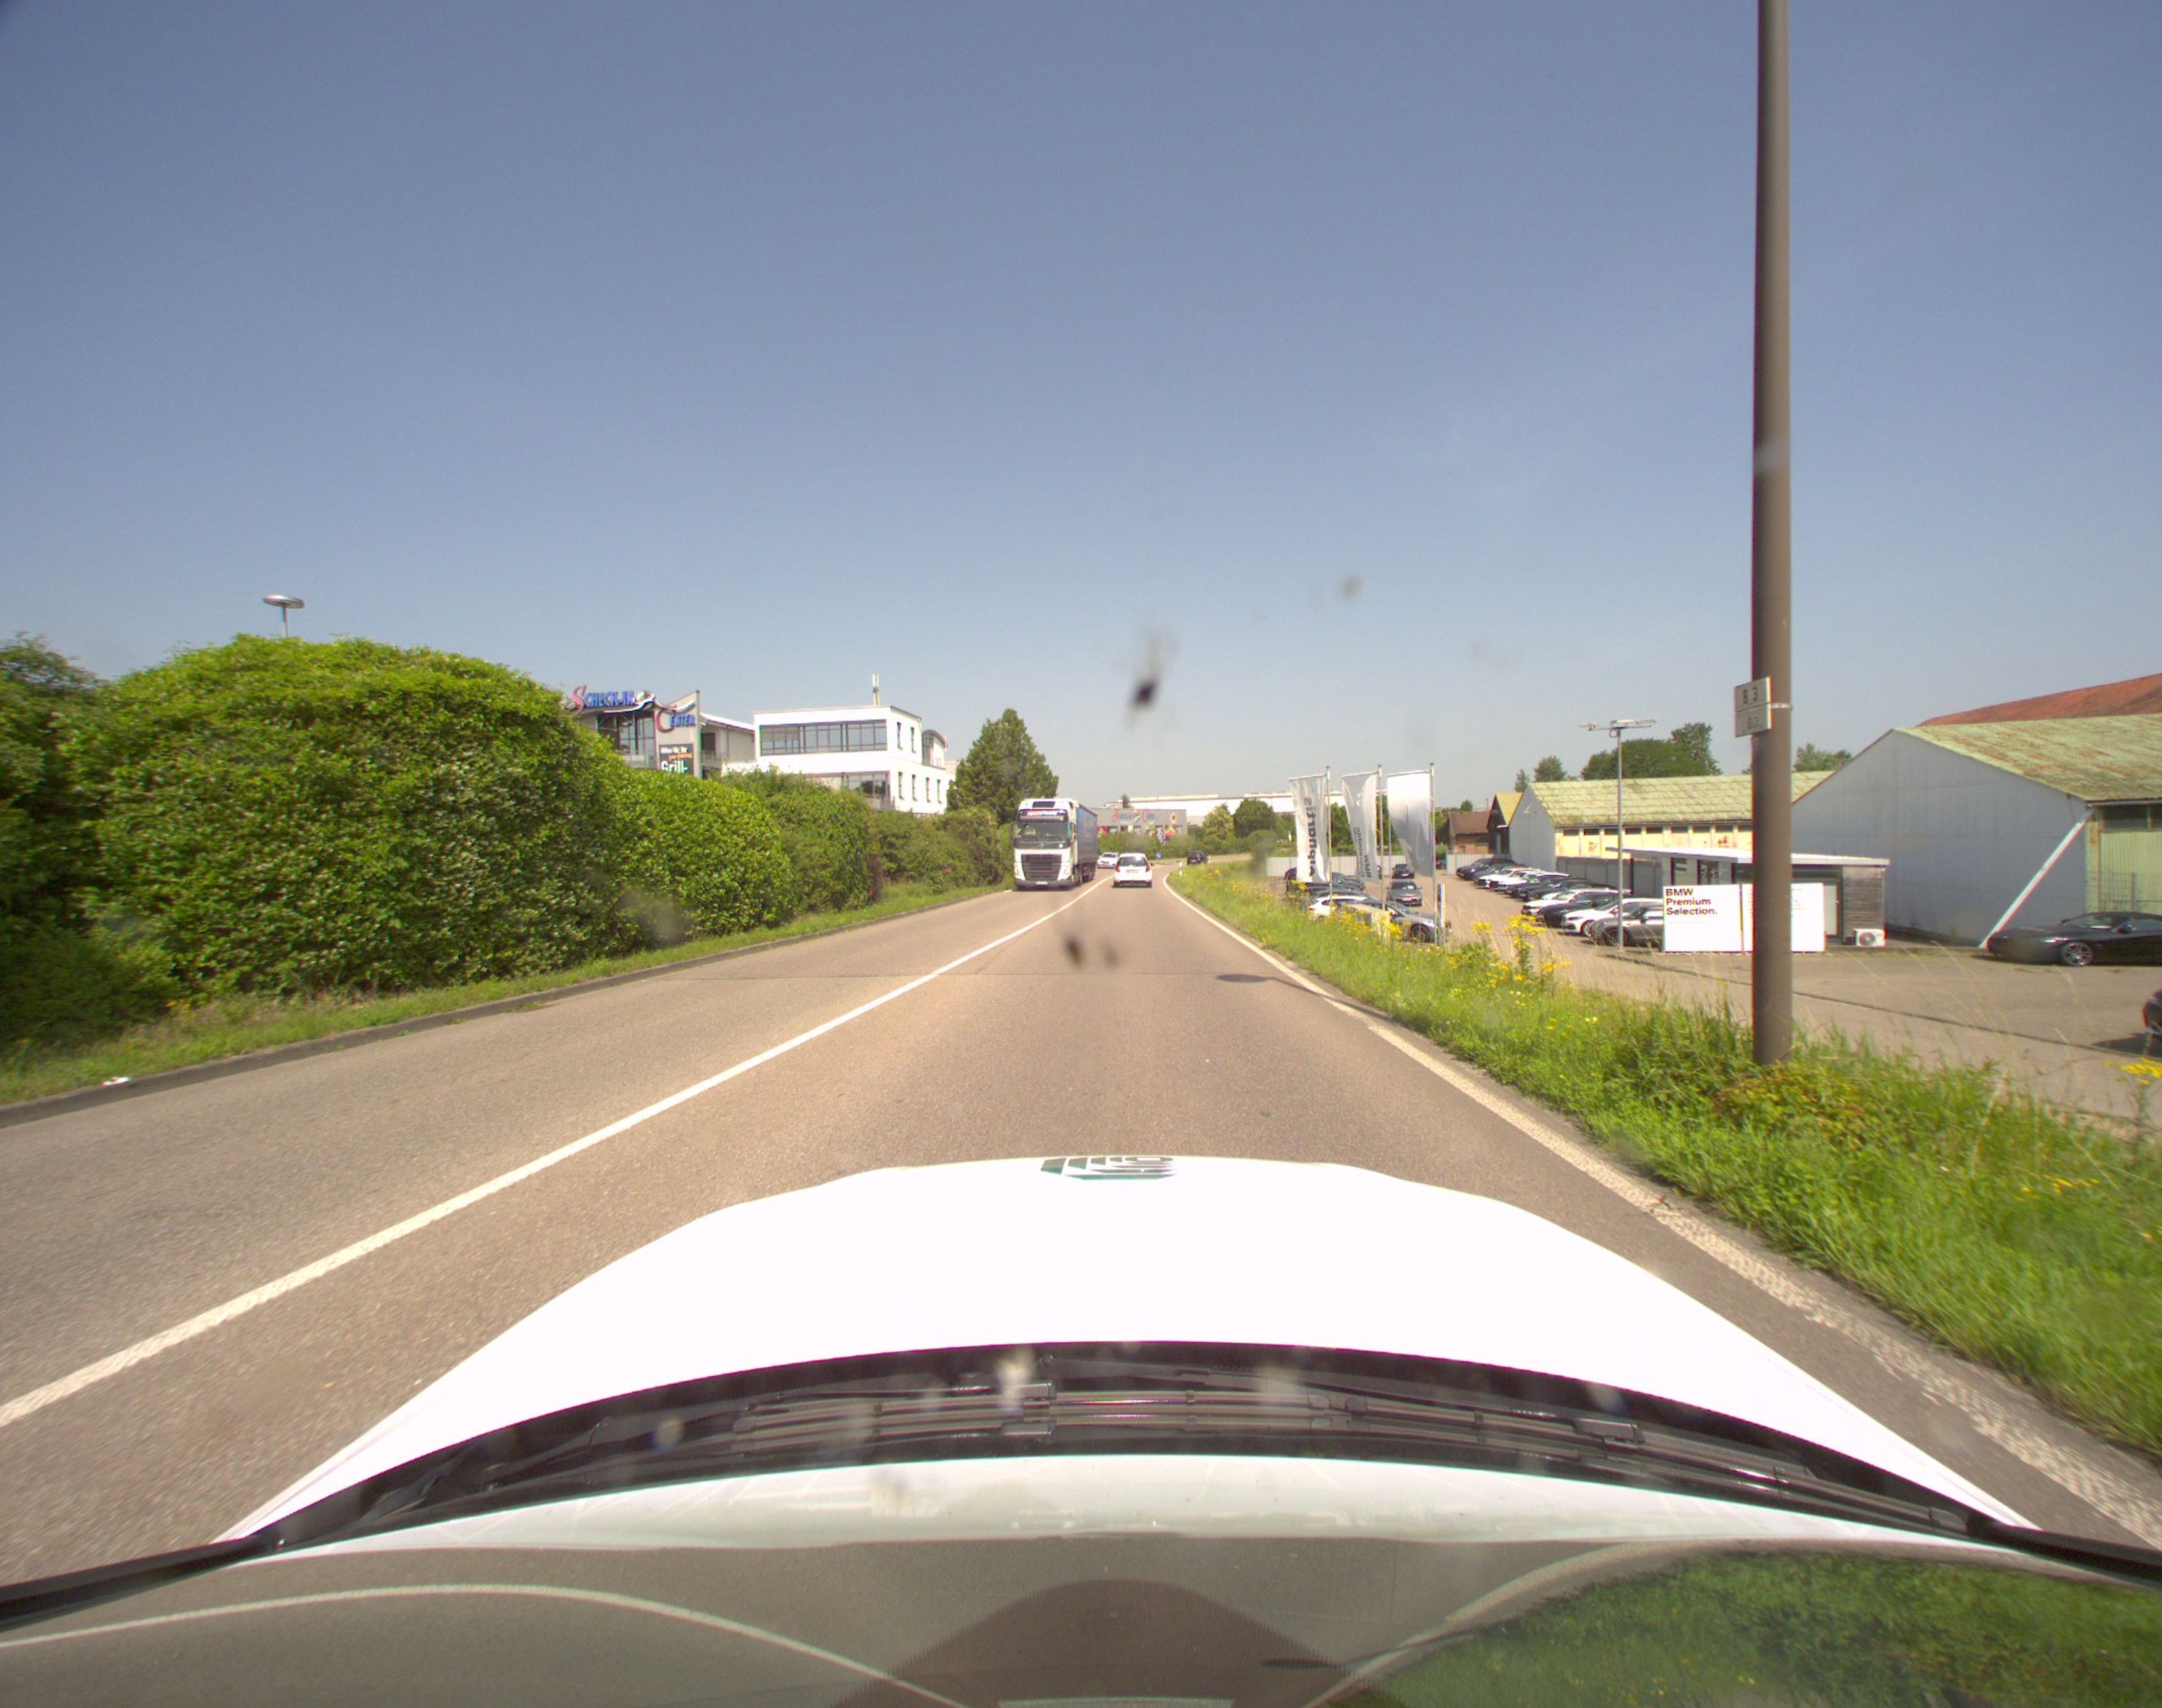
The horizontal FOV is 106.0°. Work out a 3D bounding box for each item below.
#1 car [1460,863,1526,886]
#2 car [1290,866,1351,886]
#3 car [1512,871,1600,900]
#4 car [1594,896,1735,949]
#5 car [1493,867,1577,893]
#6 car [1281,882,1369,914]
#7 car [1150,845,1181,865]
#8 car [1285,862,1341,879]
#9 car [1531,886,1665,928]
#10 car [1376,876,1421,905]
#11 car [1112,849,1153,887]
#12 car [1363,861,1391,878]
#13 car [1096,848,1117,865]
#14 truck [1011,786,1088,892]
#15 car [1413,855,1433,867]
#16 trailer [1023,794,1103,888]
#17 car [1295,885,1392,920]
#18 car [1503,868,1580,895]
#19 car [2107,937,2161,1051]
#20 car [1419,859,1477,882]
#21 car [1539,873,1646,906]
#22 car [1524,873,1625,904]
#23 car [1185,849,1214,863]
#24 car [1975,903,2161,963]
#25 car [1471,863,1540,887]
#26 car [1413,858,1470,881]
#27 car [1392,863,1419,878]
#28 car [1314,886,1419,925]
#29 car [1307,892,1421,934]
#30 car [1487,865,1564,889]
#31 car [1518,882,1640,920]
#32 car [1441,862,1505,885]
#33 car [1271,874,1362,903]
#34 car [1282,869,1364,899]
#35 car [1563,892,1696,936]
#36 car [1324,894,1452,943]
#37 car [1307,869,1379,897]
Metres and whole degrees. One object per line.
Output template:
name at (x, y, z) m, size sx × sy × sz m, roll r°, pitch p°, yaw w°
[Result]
car at (32.104, 1.561, 63.491) m, size 4.321 × 1.576 × 1.907 m, roll -2°, pitch 2°, yaw -8°
car at (20.278, 1.838, 68.918) m, size 4.584 × 1.604 × 1.868 m, roll -1°, pitch 1°, yaw 32°
car at (28.666, 1.897, 49.242) m, size 4.303 × 1.523 × 1.795 m, roll -2°, pitch 0°, yaw -3°
car at (19.803, 2.290, 27.844) m, size 3.755 × 1.523 × 1.762 m, roll -1°, pitch 0°, yaw 30°
car at (30.817, 1.765, 55.339) m, size 4.635 × 1.523 × 1.910 m, roll -2°, pitch 0°, yaw -3°
car at (12.927, 2.277, 43.169) m, size 4.118 × 1.523 × 1.868 m, roll -1°, pitch 0°, yaw 32°
car at (9.050, 0.094, 87.032) m, size 1.975 × 2.013 × 4.024 m, roll -1°, pitch 0°, yaw 27°
car at (21.392, 1.514, 75.156) m, size 4.583 × 1.498 × 1.869 m, roll -1°, pitch 2°, yaw 35°
car at (21.766, 2.216, 34.431) m, size 4.406 × 1.523 × 1.934 m, roll -2°, pitch 0°, yaw 3°
car at (19.089, 2.163, 49.135) m, size 2.119 × 1.457 × 4.552 m, roll -1°, pitch 0°, yaw 17°
car at (2.429, 0.632, 38.548) m, size 1.774 × 1.603 × 3.897 m, roll 2°, pitch 1°, yaw 3°
car at (29.026, 1.520, 79.804) m, size 1.833 × 1.534 × 4.672 m, roll -1°, pitch 0°, yaw 29°
car at (2.390, 0.241, 75.299) m, size 1.821 × 1.470 × 4.413 m, roll -1°, pitch 0°, yaw 3°
truck at (-1.275, -0.632, 36.657) m, size 2.500 × 4.257 × 6.123 m, roll -2°, pitch 0°, yaw 6°
car at (44.377, 0.905, 105.601) m, size 1.975 × 1.398 × 4.025 m, roll -1°, pitch 0°, yaw 29°
trailer at (-0.638, -0.613, 44.265) m, size 2.657 × 4.241 × 14.587 m, roll -1°, pitch 0°, yaw 5°
car at (12.797, 2.326, 39.751) m, size 4.118 × 1.523 × 1.868 m, roll -1°, pitch 0°, yaw 32°
car at (29.378, 1.762, 52.031) m, size 3.987 × 1.523 × 1.757 m, roll -2°, pitch 0°, yaw -3°
car at (18.550, 2.086, 12.039) m, size 4.475 × 1.640 × 2.143 m, roll -1°, pitch -1°, yaw -7°
car at (32.073, 1.392, 71.193) m, size 4.321 × 1.804 × 1.907 m, roll -2°, pitch 1°, yaw -8°
car at (27.259, 1.897, 43.491) m, size 4.593 × 1.523 × 1.930 m, roll -2°, pitch 0°, yaw -3°
car at (27.963, 1.956, 46.194) m, size 4.593 × 1.523 × 1.930 m, roll -2°, pitch 0°, yaw -3°
car at (13.062, 0.189, 89.588) m, size 1.812 × 1.470 × 4.436 m, roll -1°, pitch 0°, yaw 26°
car at (26.341, 2.019, 21.135) m, size 3.909 × 1.376 × 1.726 m, roll -1°, pitch 0°, yaw 15°
car at (31.773, 1.577, 61.027) m, size 4.321 × 1.523 × 1.907 m, roll -2°, pitch 2°, yaw -8°
car at (32.712, 1.402, 74.017) m, size 4.321 × 1.804 × 1.994 m, roll -2°, pitch 1°, yaw -8°
car at (31.353, 1.578, 78.650) m, size 1.975 × 1.398 × 4.025 m, roll -1°, pitch 0°, yaw 29°
car at (12.782, 2.273, 36.525) m, size 4.118 × 1.523 × 1.868 m, roll -1°, pitch 0°, yaw 31°
car at (11.663, 2.391, 33.635) m, size 4.118 × 1.523 × 1.762 m, roll -1°, pitch 0°, yaw 32°
car at (31.774, 1.627, 58.246) m, size 4.595 × 1.523 × 1.907 m, roll -2°, pitch 1°, yaw -8°
car at (22.977, 2.156, 37.715) m, size 4.400 × 1.523 × 1.937 m, roll -2°, pitch 0°, yaw 8°
car at (31.766, 1.562, 66.022) m, size 4.321 × 1.576 × 1.907 m, roll -2°, pitch 2°, yaw -8°
car at (13.383, 1.935, 46.350) m, size 4.583 × 1.523 × 1.868 m, roll -1°, pitch 0°, yaw 35°
car at (15.325, 1.888, 51.751) m, size 4.583 × 1.700 × 1.869 m, roll -1°, pitch 2°, yaw 37°
car at (20.777, 2.261, 31.046) m, size 3.922 × 1.523 × 1.761 m, roll -1°, pitch 0°, yaw 24°
car at (11.435, 2.351, 30.443) m, size 4.118 × 1.523 × 1.701 m, roll -1°, pitch 0°, yaw 36°
car at (17.670, 1.910, 55.013) m, size 4.181 × 1.700 × 1.931 m, roll 0°, pitch 3°, yaw 40°
